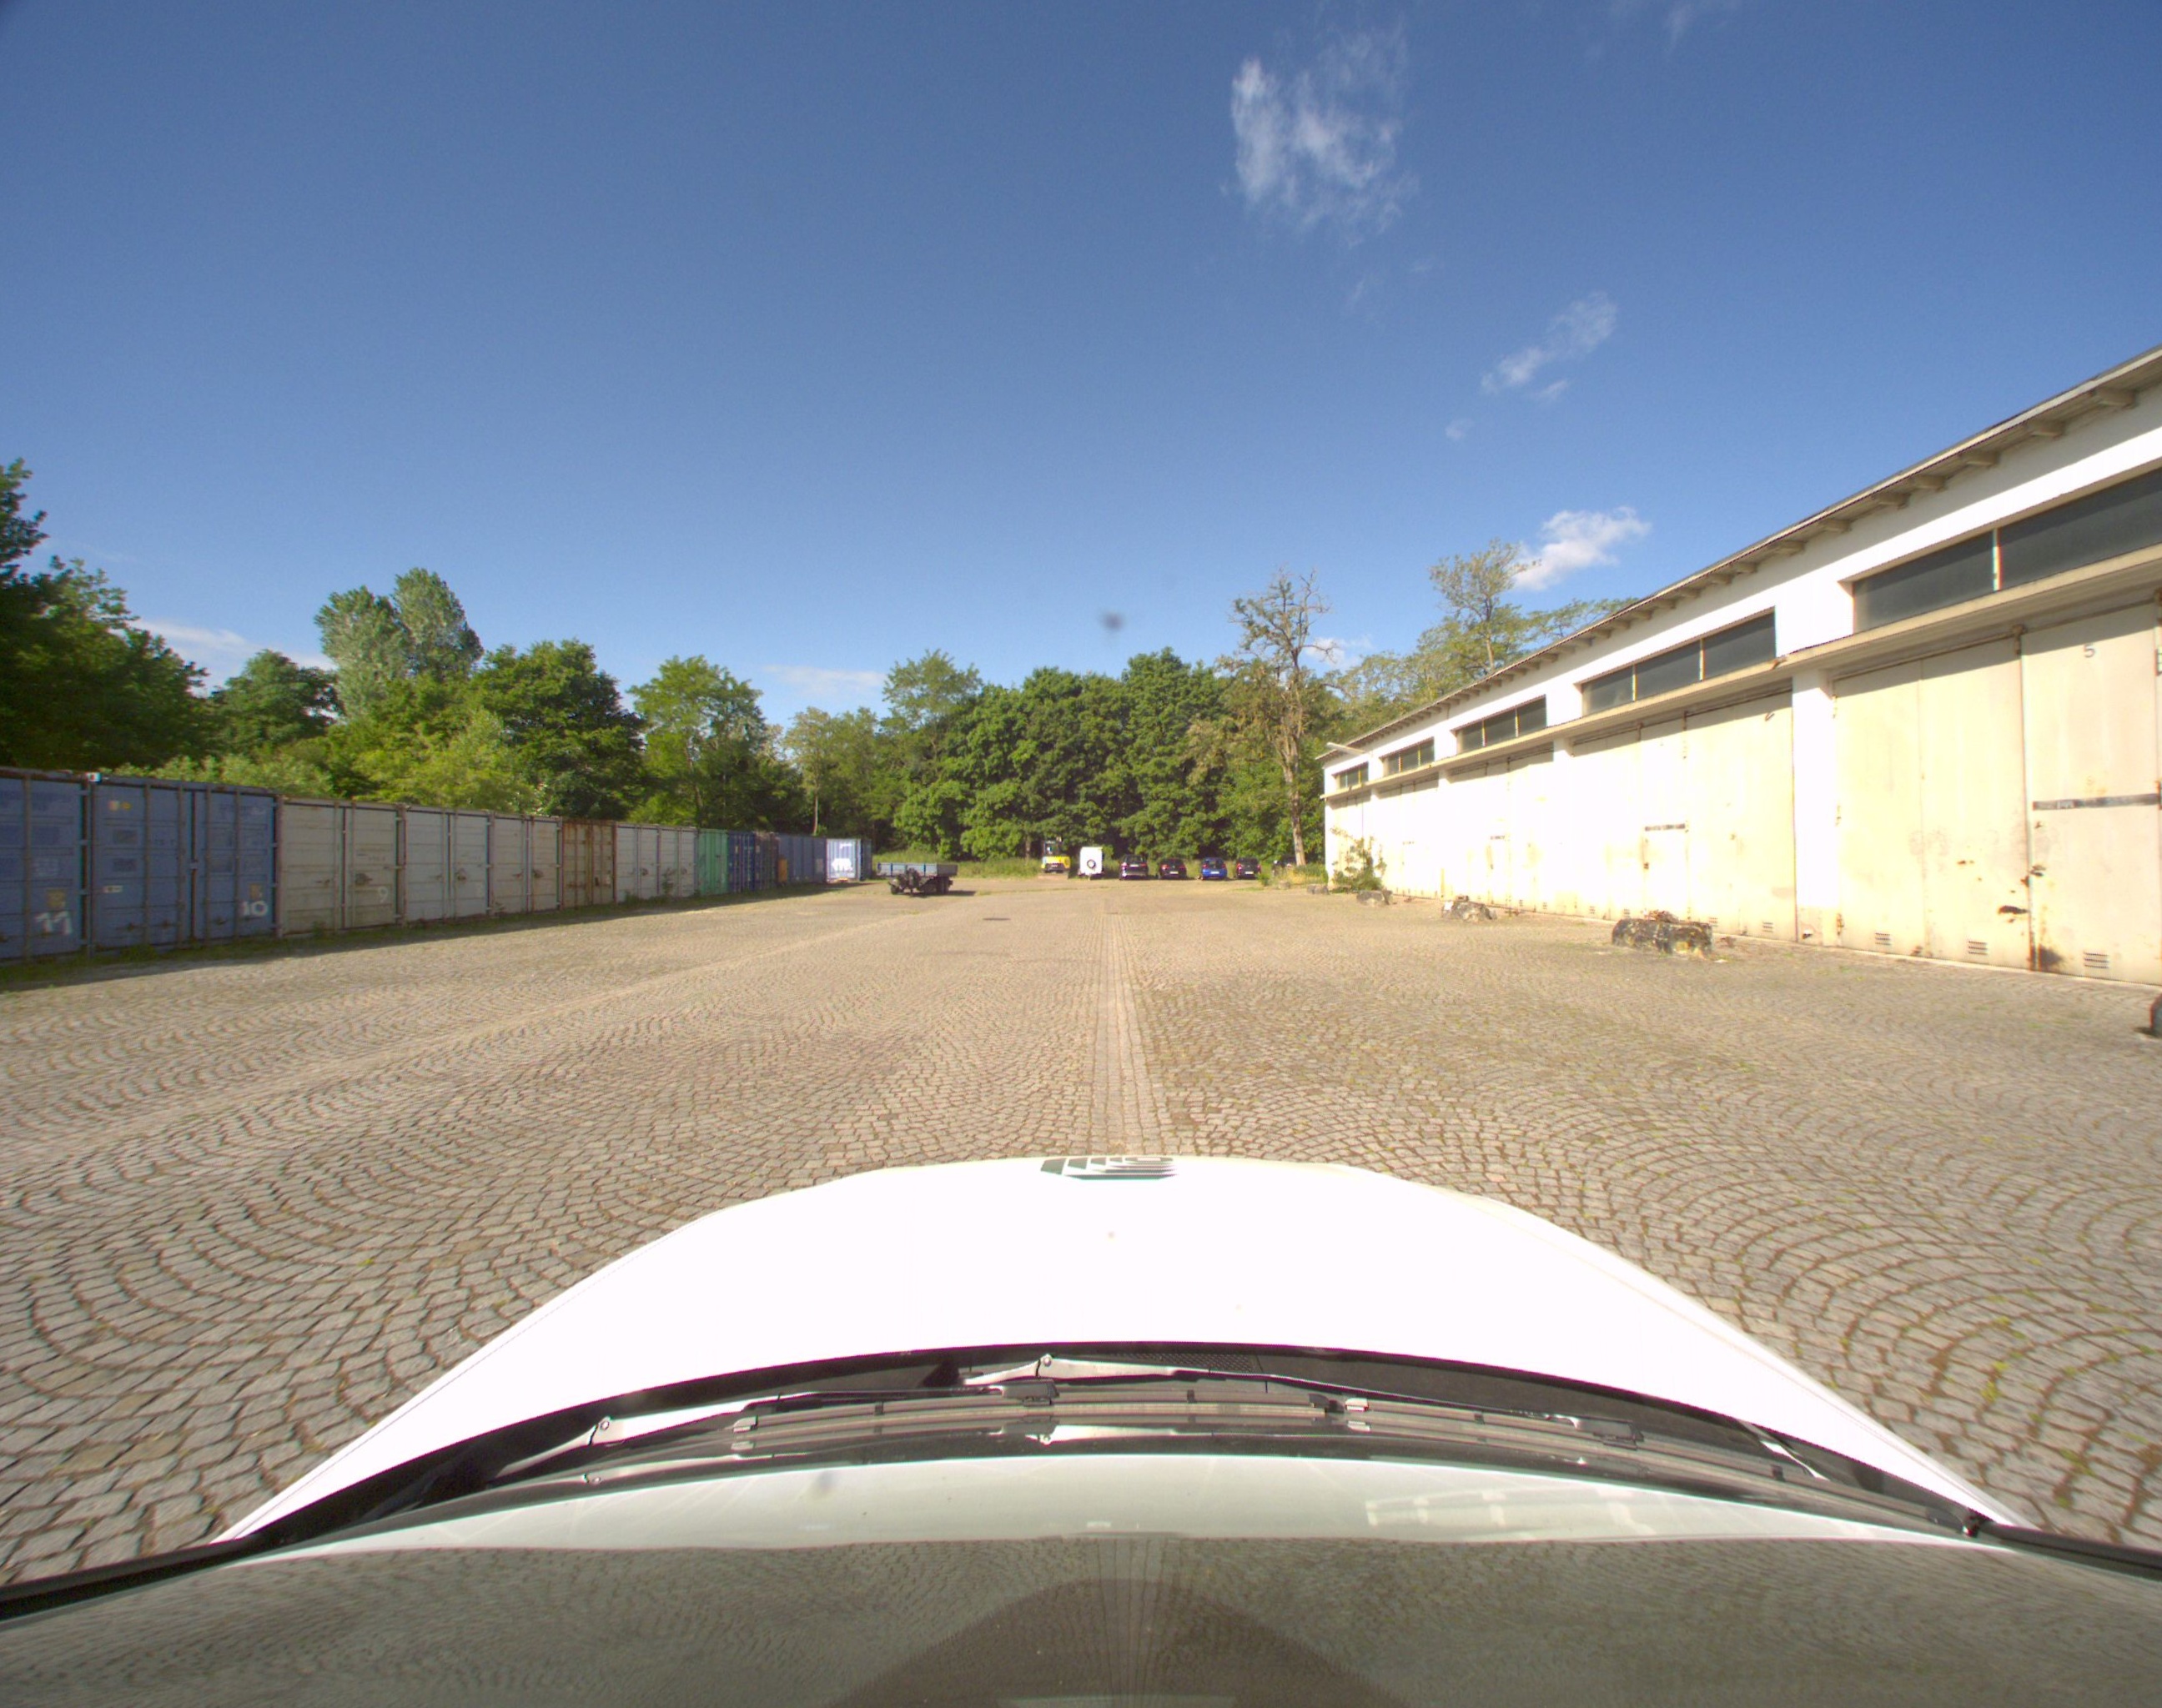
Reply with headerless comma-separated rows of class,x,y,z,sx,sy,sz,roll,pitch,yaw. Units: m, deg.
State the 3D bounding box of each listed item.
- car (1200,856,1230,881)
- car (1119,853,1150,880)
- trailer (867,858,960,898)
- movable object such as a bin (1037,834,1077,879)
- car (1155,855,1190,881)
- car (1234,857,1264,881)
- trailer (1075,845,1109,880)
car,8.661,0.912,52.858,1.735,1.436,4.191,1,1,7
car,3.413,0.778,52.659,1.857,1.589,4.297,1,1,1
trailer,-7.049,0.949,35.150,2.696,1.465,6.247,1,0,0
movable object such as a bin,-1.559,0.110,55.742,2.297,2.896,5.755,1,1,3
car,5.905,0.881,52.976,1.857,1.470,4.297,1,1,1
car,11.150,0.939,54.217,1.734,1.436,4.193,1,1,9
trailer,0.794,0.489,55.096,2.185,2.187,5.753,1,1,1
